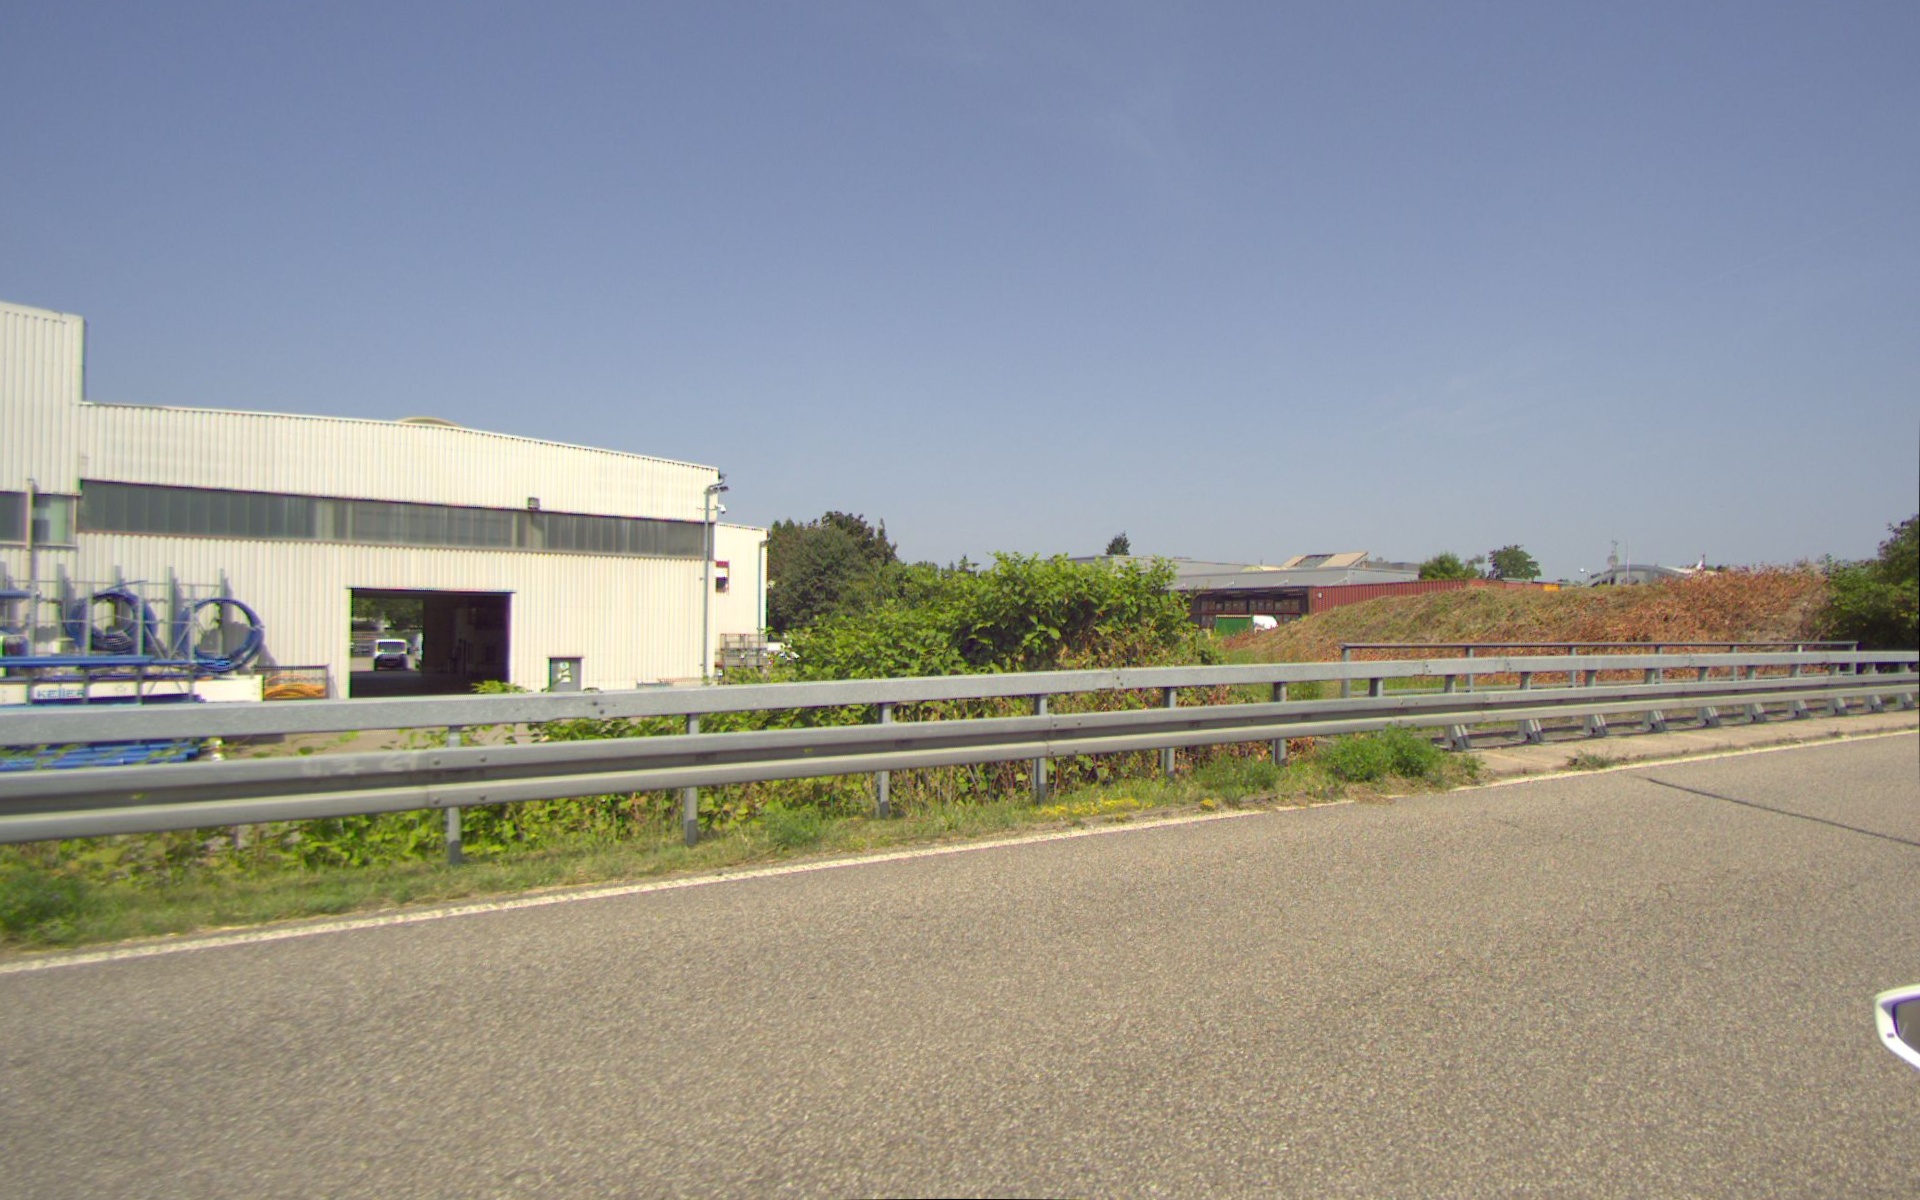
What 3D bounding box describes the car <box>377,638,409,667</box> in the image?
[{"bbox_3d":[-40.254,3.722,71.368,1.748,1.976,3.541,0,-3,-25],"label":"car"}]
